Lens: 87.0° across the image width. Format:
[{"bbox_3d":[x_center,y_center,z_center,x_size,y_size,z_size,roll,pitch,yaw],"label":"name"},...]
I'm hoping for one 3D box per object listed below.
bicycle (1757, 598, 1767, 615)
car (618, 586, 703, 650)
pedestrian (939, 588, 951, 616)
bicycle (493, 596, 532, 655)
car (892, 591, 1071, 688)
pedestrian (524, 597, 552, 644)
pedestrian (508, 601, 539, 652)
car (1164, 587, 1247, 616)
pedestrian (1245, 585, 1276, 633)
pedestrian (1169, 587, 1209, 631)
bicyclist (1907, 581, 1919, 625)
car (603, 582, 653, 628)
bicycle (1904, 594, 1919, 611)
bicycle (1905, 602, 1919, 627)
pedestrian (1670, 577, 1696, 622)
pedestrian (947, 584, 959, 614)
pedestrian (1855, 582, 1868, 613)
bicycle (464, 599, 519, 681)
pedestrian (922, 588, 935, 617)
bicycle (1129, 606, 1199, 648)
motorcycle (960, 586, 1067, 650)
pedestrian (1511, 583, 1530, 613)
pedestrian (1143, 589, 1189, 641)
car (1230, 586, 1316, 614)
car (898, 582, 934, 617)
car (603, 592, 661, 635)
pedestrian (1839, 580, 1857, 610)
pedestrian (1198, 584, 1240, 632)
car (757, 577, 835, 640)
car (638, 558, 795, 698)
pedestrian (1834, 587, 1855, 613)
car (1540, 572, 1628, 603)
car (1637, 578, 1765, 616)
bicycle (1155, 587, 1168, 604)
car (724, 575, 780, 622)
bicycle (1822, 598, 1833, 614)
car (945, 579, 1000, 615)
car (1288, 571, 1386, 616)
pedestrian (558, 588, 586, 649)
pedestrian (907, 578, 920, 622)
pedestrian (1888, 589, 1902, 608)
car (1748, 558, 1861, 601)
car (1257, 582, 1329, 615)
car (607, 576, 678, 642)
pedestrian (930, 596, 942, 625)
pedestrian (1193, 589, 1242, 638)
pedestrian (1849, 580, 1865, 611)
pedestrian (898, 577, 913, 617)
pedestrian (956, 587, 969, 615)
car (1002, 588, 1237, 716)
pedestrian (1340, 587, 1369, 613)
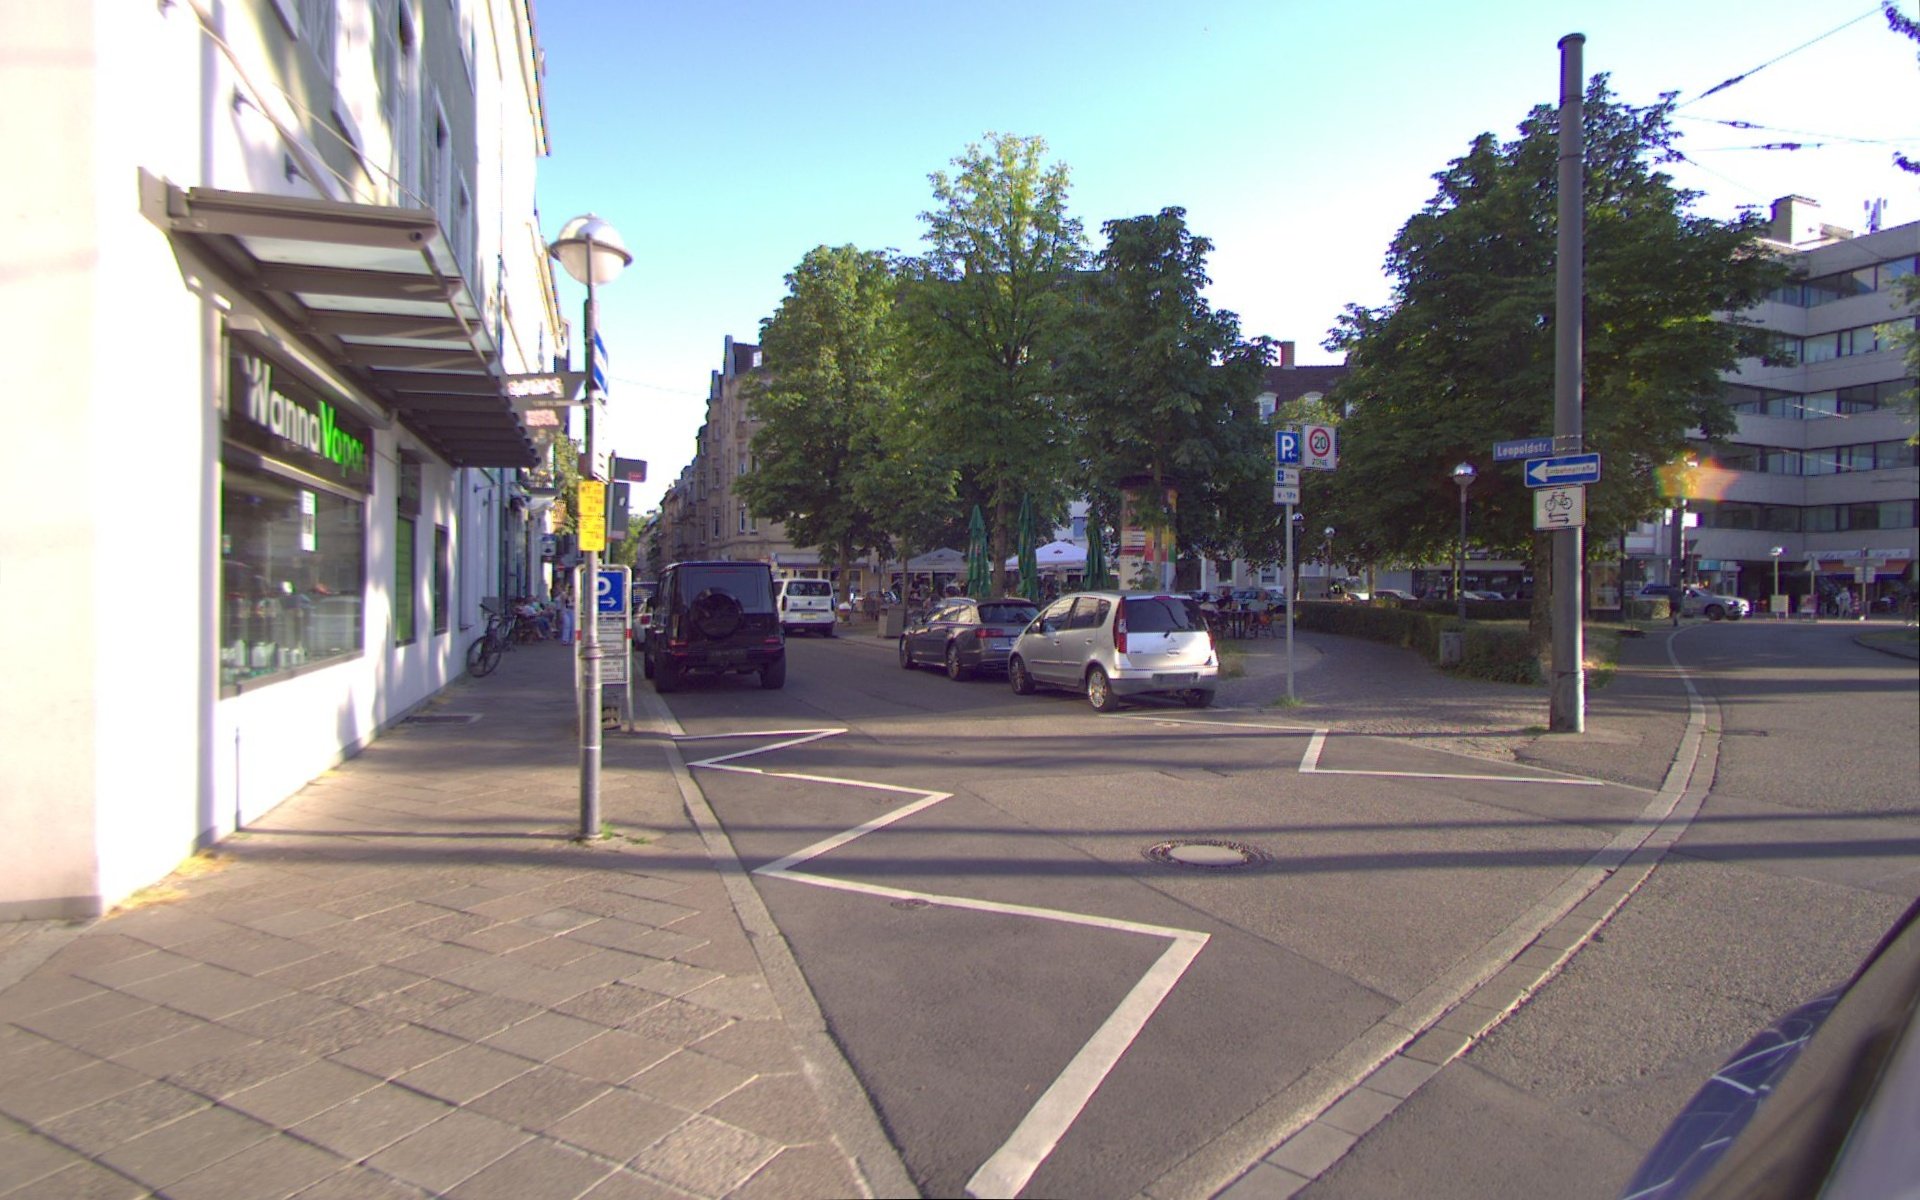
[{"bbox_3d":[48.793,0.378,61.555,0.300,1.005,1.280,-1,0,31],"label":"bicycle"},{"bbox_3d":[-8.596,0.460,28.805,1.981,1.637,4.521,-1,0,-21],"label":"car"},{"bbox_3d":[-0.603,0.069,40.822,0.484,1.131,0.557,-1,0,0],"label":"pedestrian"},{"bbox_3d":[-10.227,0.550,23.164,0.672,1.261,1.992,0,1,-20],"label":"bicycle"},{"bbox_3d":[0.231,0.611,18.753,1.702,1.533,4.683,0,1,-21],"label":"car"},{"bbox_3d":[-11.771,0.552,28.256,0.672,1.261,1.029,0,0,-20],"label":"pedestrian"},{"bbox_3d":[-11.188,0.666,25.950,0.672,1.261,1.029,0,0,-20],"label":"pedestrian"},{"bbox_3d":[13.036,0.075,53.886,1.963,1.505,3.998,0,0,-36],"label":"car"},{"bbox_3d":[8.066,0.230,27.215,0.600,1.260,0.570,0,1,-10],"label":"pedestrian"},{"bbox_3d":[6.848,0.271,30.339,0.932,1.259,0.663,-2,-4,-7],"label":"pedestrian"},{"bbox_3d":[44.076,0.137,46.310,0.919,1.999,1.099,-1,-1,36],"label":"bicyclist"},{"bbox_3d":[-15.132,0.206,45.981,1.981,1.988,4.521,-1,0,-21],"label":"car"},{"bbox_3d":[61.011,0.165,64.321,1.442,1.005,0.523,2,4,44],"label":"bicycle"},{"bbox_3d":[44.130,0.664,46.366,0.930,1.090,2.192,-1,0,36],"label":"bicycle"},{"bbox_3d":[28.756,-0.018,40.250,0.630,1.765,0.590,1,0,-27],"label":"pedestrian"},{"bbox_3d":[-0.255,-0.033,39.206,0.450,1.131,0.557,-1,0,0],"label":"pedestrian"},{"bbox_3d":[55.867,-0.184,62.712,0.498,1.859,0.526,5,5,39],"label":"pedestrian"},{"bbox_3d":[-7.885,0.633,17.097,0.672,1.261,1.992,0,1,-20],"label":"bicycle"},{"bbox_3d":[-1.281,0.102,40.774,0.484,1.131,0.557,-1,0,0],"label":"pedestrian"},{"bbox_3d":[4.669,0.611,23.252,1.501,0.941,0.555,-1,0,3],"label":"bicycle"},{"bbox_3d":[1.208,0.403,22.875,2.216,1.385,0.945,-2,0,21],"label":"motorcycle"},{"bbox_3d":[34.752,-0.136,62.774,0.780,1.823,0.638,-1,-1,4],"label":"pedestrian"},{"bbox_3d":[5.339,0.401,26.255,0.649,1.301,0.952,0,-4,-28],"label":"pedestrian"},{"bbox_3d":[16.615,0.014,53.875,1.963,1.416,3.998,0,0,-36],"label":"car"},{"bbox_3d":[-2.441,-0.011,55.208,1.875,1.796,4.002,-1,0,-3],"label":"car"},{"bbox_3d":[-13.171,0.503,40.469,1.981,1.591,4.521,-1,0,-21],"label":"car"},{"bbox_3d":[56.210,-0.325,64.063,0.528,1.859,0.619,2,4,11],"label":"pedestrian"},{"bbox_3d":[7.556,0.215,29.562,0.995,1.372,0.733,-1,1,-7],"label":"pedestrian"},{"bbox_3d":[-5.806,0.247,35.408,1.958,2.039,4.445,-1,0,-19],"label":"car"},{"bbox_3d":[-4.181,0.366,16.787,1.981,1.988,4.521,0,1,-21],"label":"car"},{"bbox_3d":[54.535,0.013,62.374,0.780,1.555,0.568,-1,1,8],"label":"pedestrian"},{"bbox_3d":[38.634,-0.776,62.722,4.153,1.806,1.931,-1,1,4],"label":"car"},{"bbox_3d":[36.651,-0.146,50.193,1.960,1.794,4.715,0,0,-29],"label":"car"},{"bbox_3d":[9.897,-0.230,49.646,0.438,0.789,1.274,0,1,2],"label":"bicycle"},{"bbox_3d":[-9.711,-0.087,47.000,1.958,2.039,4.445,-1,0,-19],"label":"car"},{"bbox_3d":[53.245,0.357,62.111,0.300,1.005,1.280,-1,0,31],"label":"bicycle"},{"bbox_3d":[0.624,-0.152,54.268,1.872,1.796,4.008,-1,0,-16],"label":"car"},{"bbox_3d":[19.895,-0.318,53.639,2.051,2.269,4.889,0,0,-23],"label":"car"},{"bbox_3d":[-10.287,0.487,26.830,0.672,1.588,0.737,0,0,-20],"label":"pedestrian"},{"bbox_3d":[-1.778,-0.005,38.972,0.327,1.706,0.383,0,1,36],"label":"pedestrian"},{"bbox_3d":[60.712,-0.096,65.688,0.412,1.208,0.463,0,4,-19],"label":"pedestrian"},{"bbox_3d":[56.916,-1.414,68.369,2.136,2.761,5.446,0,2,-22],"label":"car"},{"bbox_3d":[20.961,-0.111,63.882,3.929,1.908,1.951,-1,2,5],"label":"car"},{"bbox_3d":[-10.586,0.258,33.522,1.981,1.988,4.521,-1,0,-21],"label":"car"},{"bbox_3d":[-0.938,0.408,39.163,0.450,1.131,0.531,-1,0,0],"label":"pedestrian"},{"bbox_3d":[6.829,0.351,26.872,0.968,1.258,0.781,0,0,-23],"label":"pedestrian"},{"bbox_3d":[56.133,-0.278,63.307,0.601,1.859,0.566,5,5,39],"label":"pedestrian"},{"bbox_3d":[-2.205,-0.132,41.024,0.519,1.599,0.639,-1,0,0],"label":"pedestrian"},{"bbox_3d":[0.102,0.046,40.864,0.484,1.131,0.557,-1,0,0],"label":"pedestrian"},{"bbox_3d":[2.069,0.604,14.176,1.702,1.533,3.585,0,1,-21],"label":"car"},{"bbox_3d":[19.328,-0.014,49.611,0.944,1.241,1.368,0,0,7],"label":"pedestrian"}]
